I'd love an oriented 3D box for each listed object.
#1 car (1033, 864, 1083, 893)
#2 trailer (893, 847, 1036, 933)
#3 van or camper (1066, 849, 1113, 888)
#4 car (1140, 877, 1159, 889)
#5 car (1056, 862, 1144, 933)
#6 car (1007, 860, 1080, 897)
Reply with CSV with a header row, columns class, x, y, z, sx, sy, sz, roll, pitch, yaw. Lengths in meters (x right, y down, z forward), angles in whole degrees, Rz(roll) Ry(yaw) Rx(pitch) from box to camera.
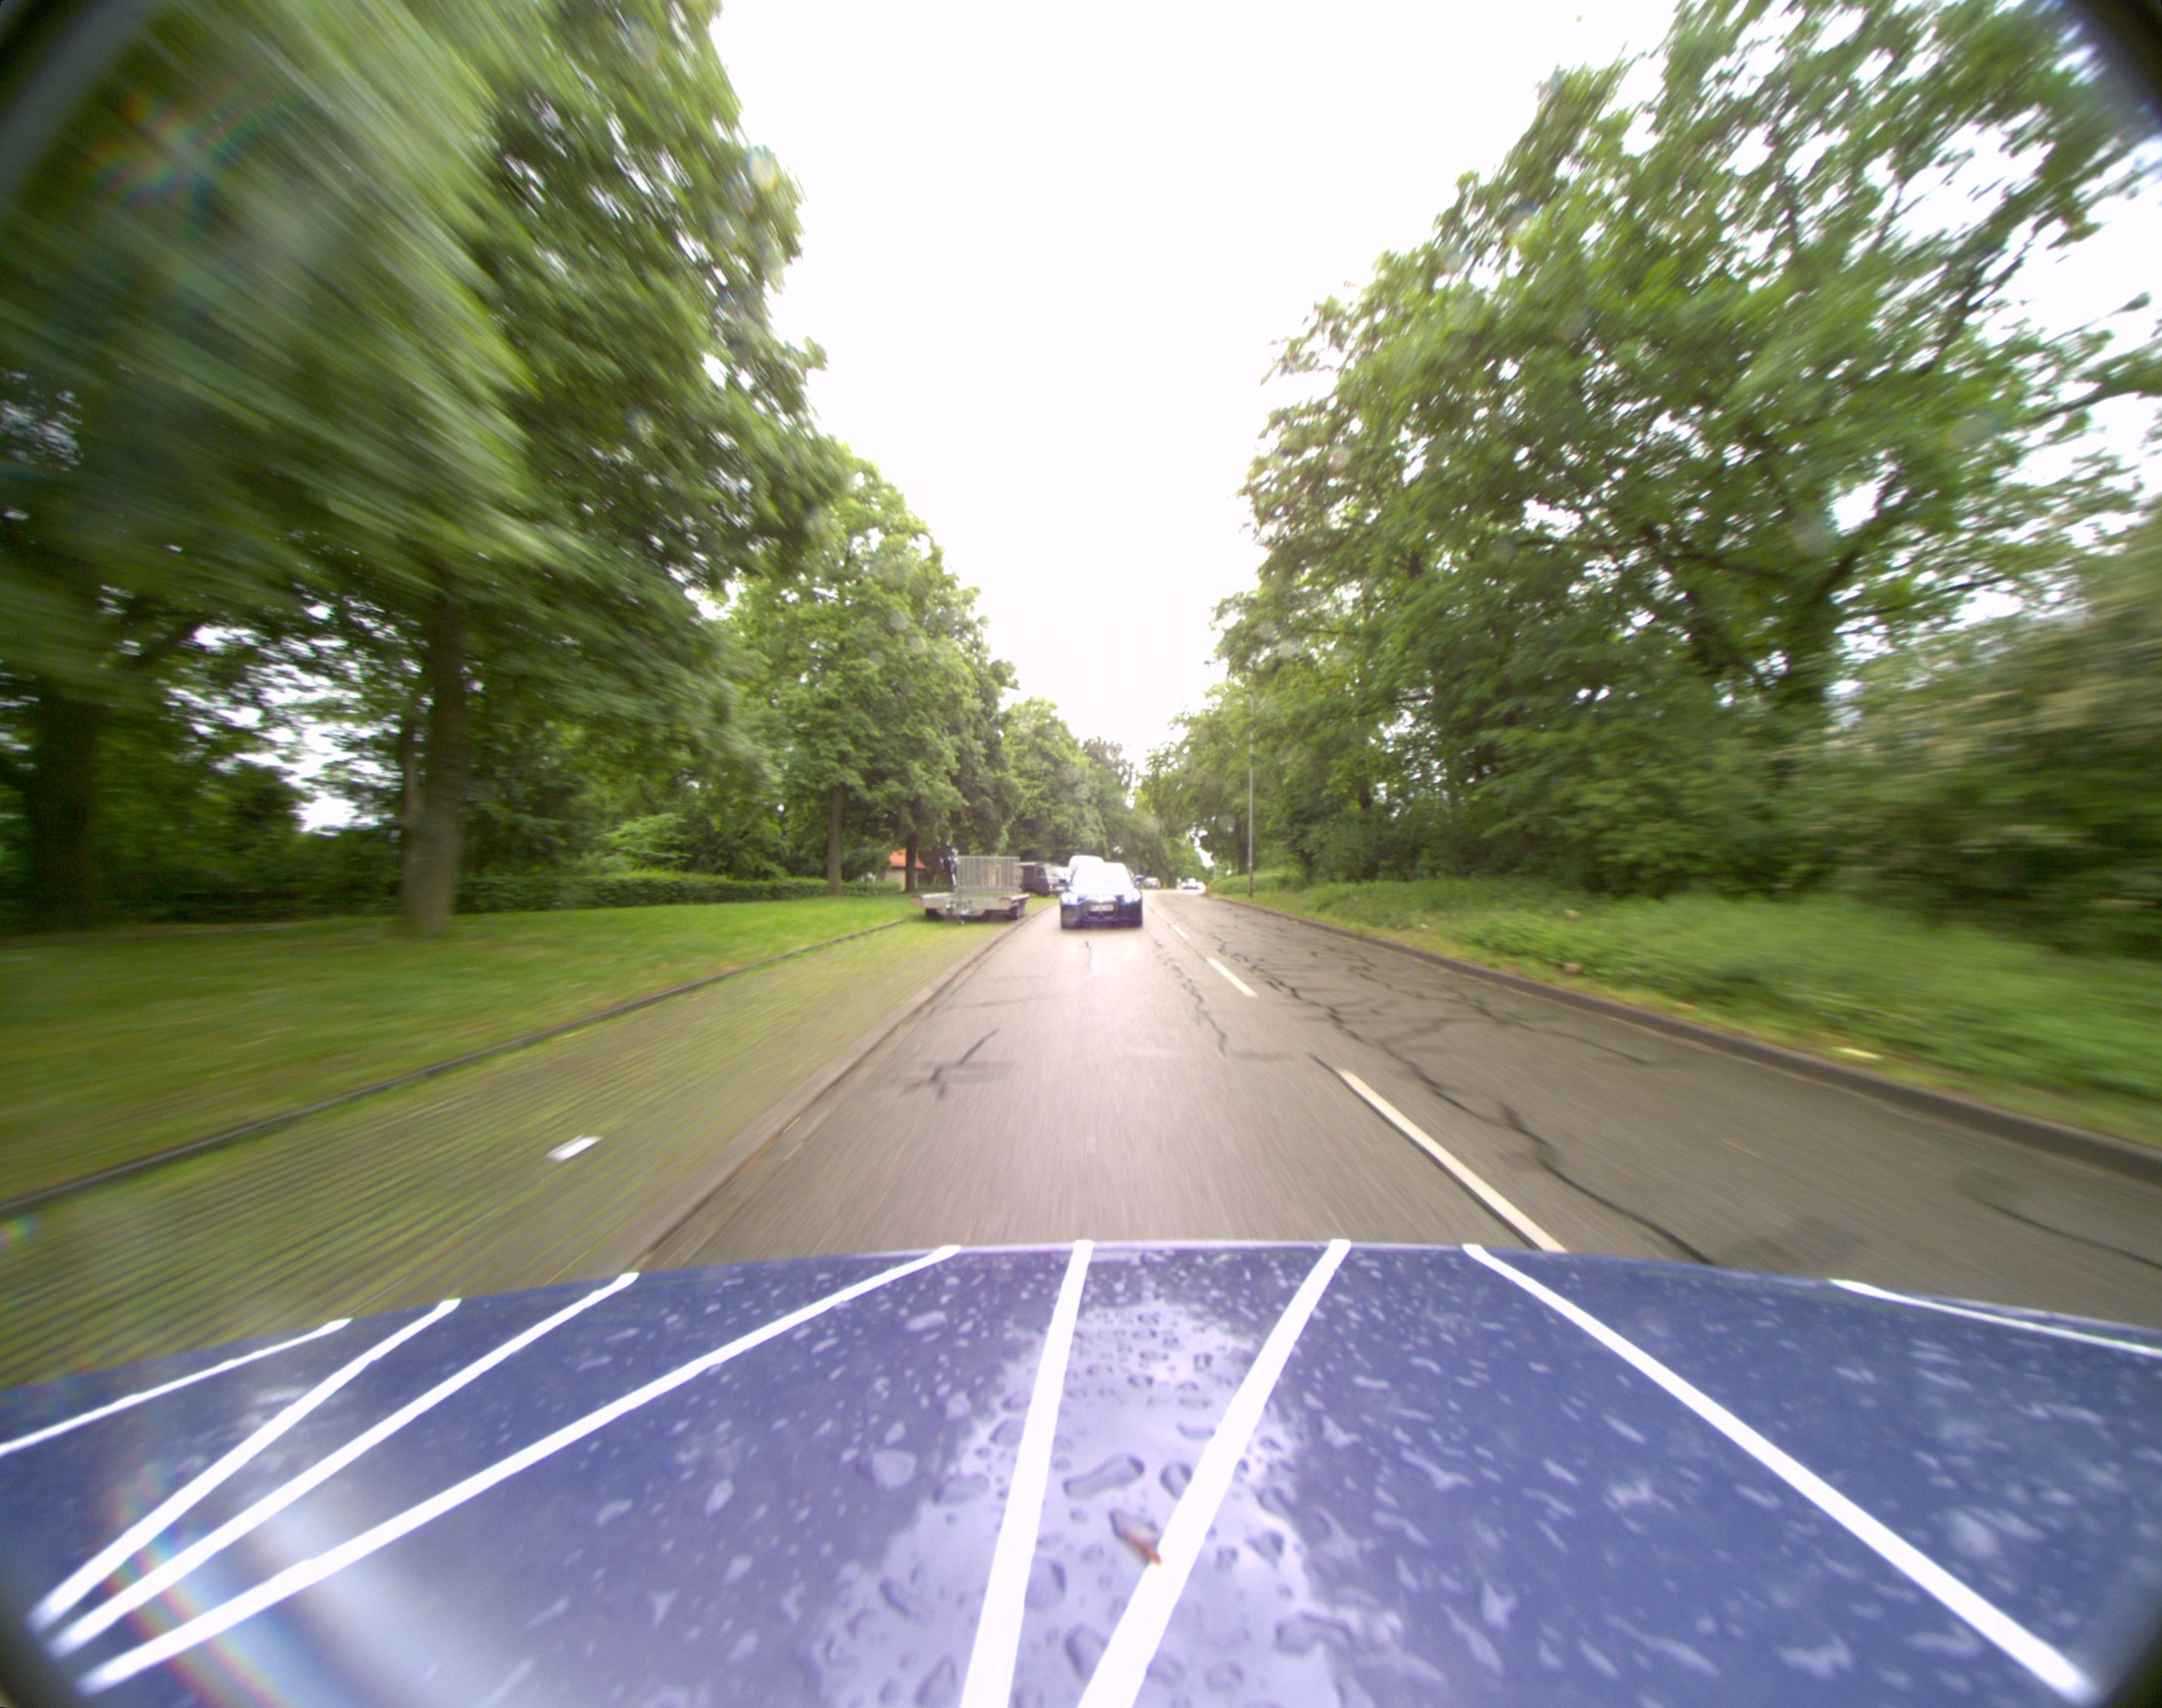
class,x,y,z,sx,sy,sz,roll,pitch,yaw
car,-1.201,1.376,41.679,1.997,1.488,4.571,0,-2,8
trailer,-2.637,0.759,18.970,2.455,1.802,5.893,1,0,2
van or camper,0.747,1.193,55.901,2.019,2.566,8.446,-2,-3,10
car,8.334,3.533,92.218,1.703,1.452,4.223,1,-2,14
car,0.351,1.009,18.287,1.840,1.501,4.000,0,-2,-3
car,-1.885,1.170,37.087,1.615,1.671,3.996,1,-1,-35
